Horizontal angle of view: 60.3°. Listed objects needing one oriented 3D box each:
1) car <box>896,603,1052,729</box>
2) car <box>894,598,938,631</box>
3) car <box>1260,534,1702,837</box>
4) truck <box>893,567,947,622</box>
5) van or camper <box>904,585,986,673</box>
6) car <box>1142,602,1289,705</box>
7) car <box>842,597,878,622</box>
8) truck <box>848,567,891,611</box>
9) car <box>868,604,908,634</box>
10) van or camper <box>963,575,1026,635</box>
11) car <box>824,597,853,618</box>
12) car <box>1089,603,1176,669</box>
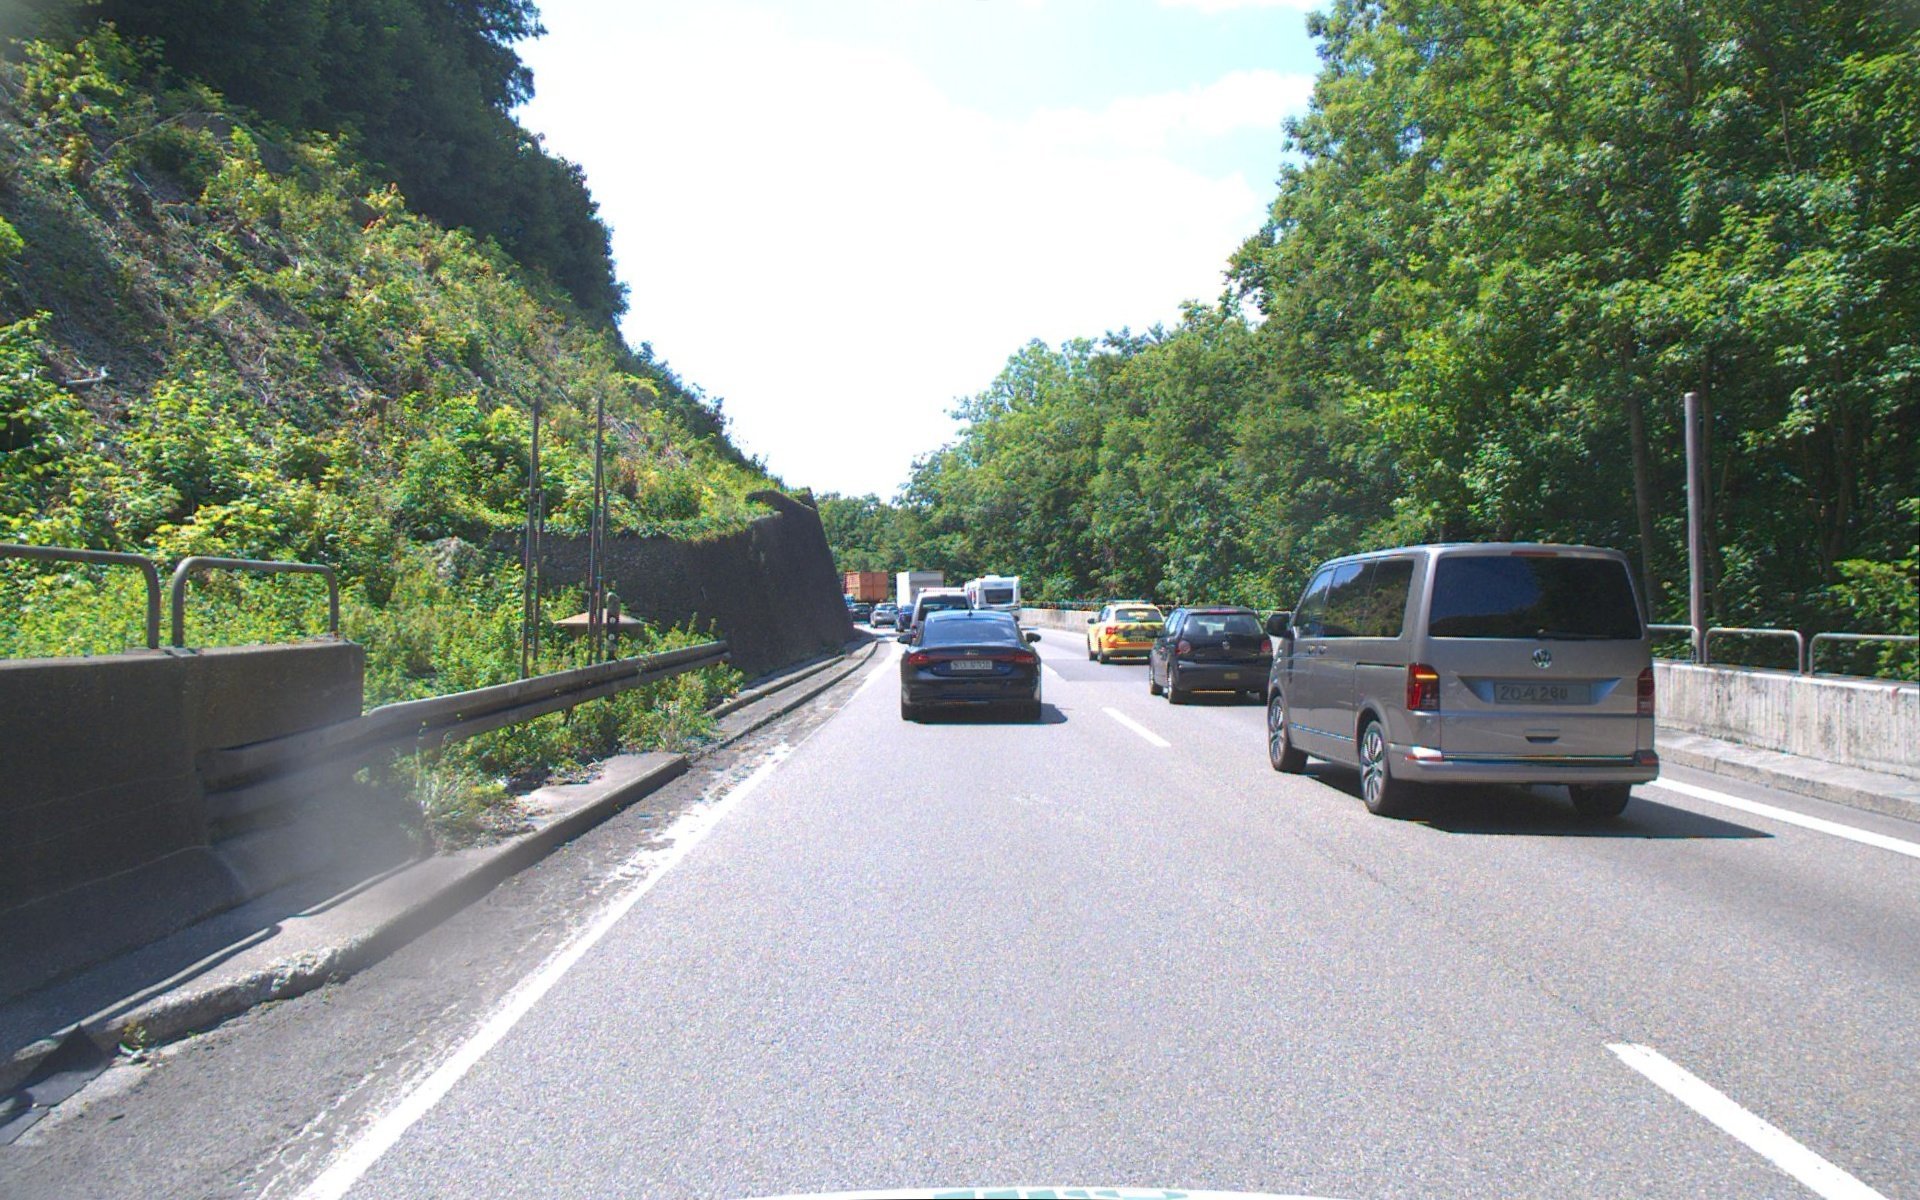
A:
[{"bbox_3d":[0.090,0.821,22.819,1.867,1.515,4.376,-1,0,-3],"label":"car"},{"bbox_3d":[-2.360,0.758,86.925,1.823,1.648,3.992,2,0,-8],"label":"car"},{"bbox_3d":[3.901,0.566,13.364,1.901,1.965,4.692,2,0,-2],"label":"car"},{"bbox_3d":[-2.997,-0.438,121.828,2.871,3.751,7.709,3,0,-9],"label":"truck"},{"bbox_3d":[-0.355,0.679,40.713,1.816,1.976,4.165,2,0,0],"label":"van or camper"},{"bbox_3d":[3.946,0.786,26.133,1.651,1.484,3.999,0,0,-1],"label":"car"},{"bbox_3d":[-6.964,0.646,114.628,1.722,1.598,3.755,2,0,-16],"label":"car"},{"bbox_3d":[-7.946,-0.961,144.415,3.103,3.528,8.210,3,0,-7],"label":"truck"},{"bbox_3d":[-4.422,1.136,100.984,1.956,1.646,3.993,2,0,-8],"label":"car"},{"bbox_3d":[1.725,0.241,85.713,2.553,2.905,6.329,1,0,-5],"label":"van or camper"},{"bbox_3d":[-9.533,0.571,129.172,1.720,1.598,3.759,2,0,-13],"label":"car"},{"bbox_3d":[4.290,0.870,41.681,1.771,1.503,4.082,3,0,1],"label":"car"}]
